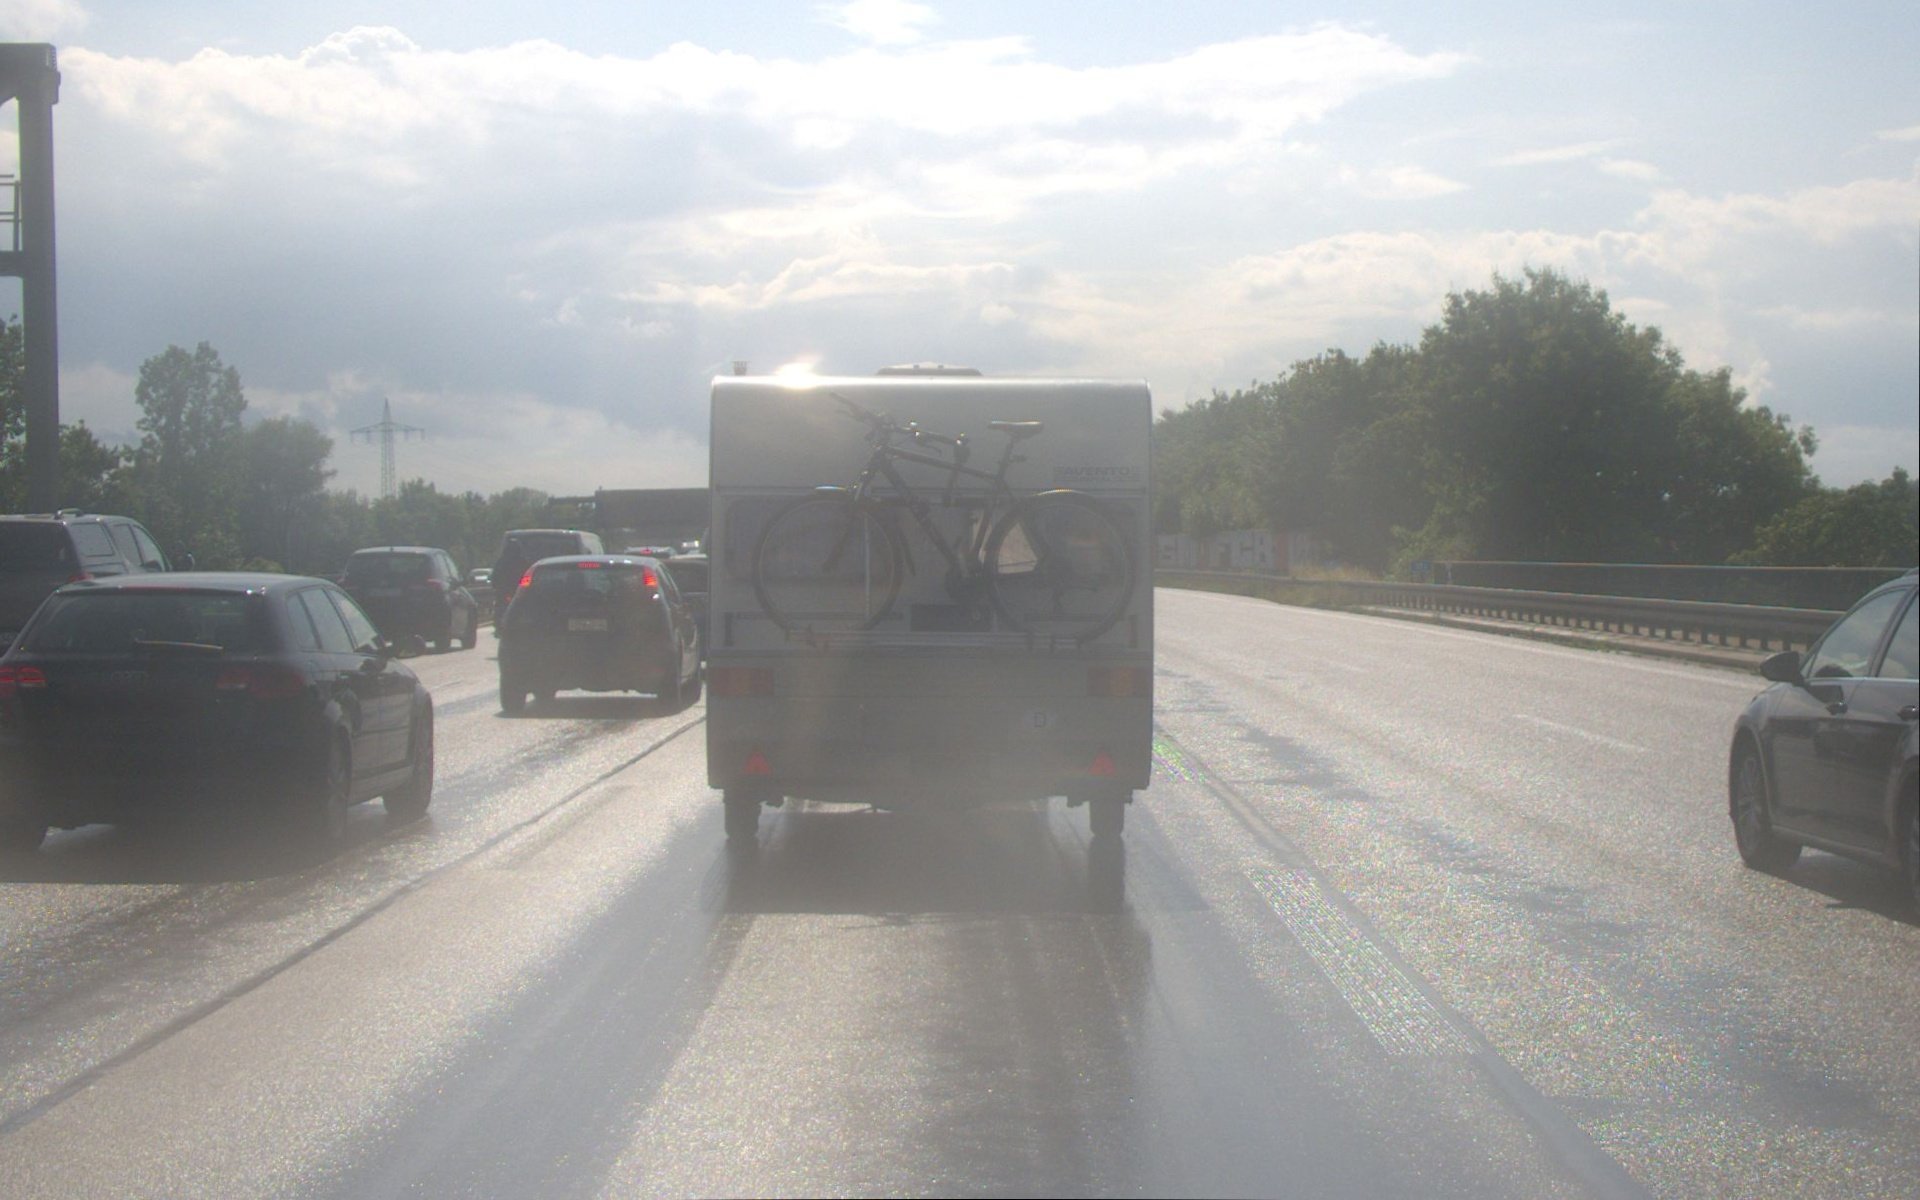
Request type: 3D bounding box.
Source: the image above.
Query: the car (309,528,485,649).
[{"bbox_3d":[-8.594,-0.200,52.793,1.993,1.766,4.000,1,1,1],"label":"car"}]

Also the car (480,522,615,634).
[{"bbox_3d":[-7.998,-0.446,66.989,1.993,2.007,4.000,4,1,1],"label":"car"}]

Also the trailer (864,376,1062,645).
[{"bbox_3d":[0.169,-1.441,57.552,3.007,4.152,8.535,0,1,2],"label":"trailer"}]

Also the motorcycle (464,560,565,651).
[{"bbox_3d":[-6.358,0.057,49.244,1.074,1.267,2.690,0,1,1],"label":"motorcycle"}]

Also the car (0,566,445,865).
[{"bbox_3d":[-3.918,0.523,18.149,1.757,1.382,3.945,0,1,1],"label":"car"}]

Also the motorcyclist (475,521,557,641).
[{"bbox_3d":[-6.355,-0.274,49.216,1.064,1.712,0.785,0,0,0],"label":"motorcyclist"}]

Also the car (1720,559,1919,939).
[{"bbox_3d":[4.582,0.555,14.364,1.854,1.437,4.258,0,1,0],"label":"car"}]

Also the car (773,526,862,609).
[{"bbox_3d":[-3.524,-0.826,85.610,1.993,2.007,4.000,0,1,1],"label":"car"}]

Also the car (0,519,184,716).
[{"bbox_3d":[-8.675,0.127,32.186,1.993,1.714,4.000,1,1,-2],"label":"car"}]

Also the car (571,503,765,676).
[{"bbox_3d":[-3.548,-0.154,42.399,1.993,2.007,4.000,1,1,1],"label":"car"}]

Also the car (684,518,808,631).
[{"bbox_3d":[-4.002,-0.496,64.779,1.993,2.007,4.000,2,1,1],"label":"car"}]

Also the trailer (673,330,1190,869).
[{"bbox_3d":[-0.149,-0.036,19.234,2.374,2.475,6.523,1,1,0],"label":"trailer"}]

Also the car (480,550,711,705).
[{"bbox_3d":[-3.492,0.236,33.554,1.806,1.402,4.000,1,1,0],"label":"car"}]

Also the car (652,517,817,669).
[{"bbox_3d":[-3.251,-0.122,50.212,1.993,2.007,4.000,4,1,1],"label":"car"}]
